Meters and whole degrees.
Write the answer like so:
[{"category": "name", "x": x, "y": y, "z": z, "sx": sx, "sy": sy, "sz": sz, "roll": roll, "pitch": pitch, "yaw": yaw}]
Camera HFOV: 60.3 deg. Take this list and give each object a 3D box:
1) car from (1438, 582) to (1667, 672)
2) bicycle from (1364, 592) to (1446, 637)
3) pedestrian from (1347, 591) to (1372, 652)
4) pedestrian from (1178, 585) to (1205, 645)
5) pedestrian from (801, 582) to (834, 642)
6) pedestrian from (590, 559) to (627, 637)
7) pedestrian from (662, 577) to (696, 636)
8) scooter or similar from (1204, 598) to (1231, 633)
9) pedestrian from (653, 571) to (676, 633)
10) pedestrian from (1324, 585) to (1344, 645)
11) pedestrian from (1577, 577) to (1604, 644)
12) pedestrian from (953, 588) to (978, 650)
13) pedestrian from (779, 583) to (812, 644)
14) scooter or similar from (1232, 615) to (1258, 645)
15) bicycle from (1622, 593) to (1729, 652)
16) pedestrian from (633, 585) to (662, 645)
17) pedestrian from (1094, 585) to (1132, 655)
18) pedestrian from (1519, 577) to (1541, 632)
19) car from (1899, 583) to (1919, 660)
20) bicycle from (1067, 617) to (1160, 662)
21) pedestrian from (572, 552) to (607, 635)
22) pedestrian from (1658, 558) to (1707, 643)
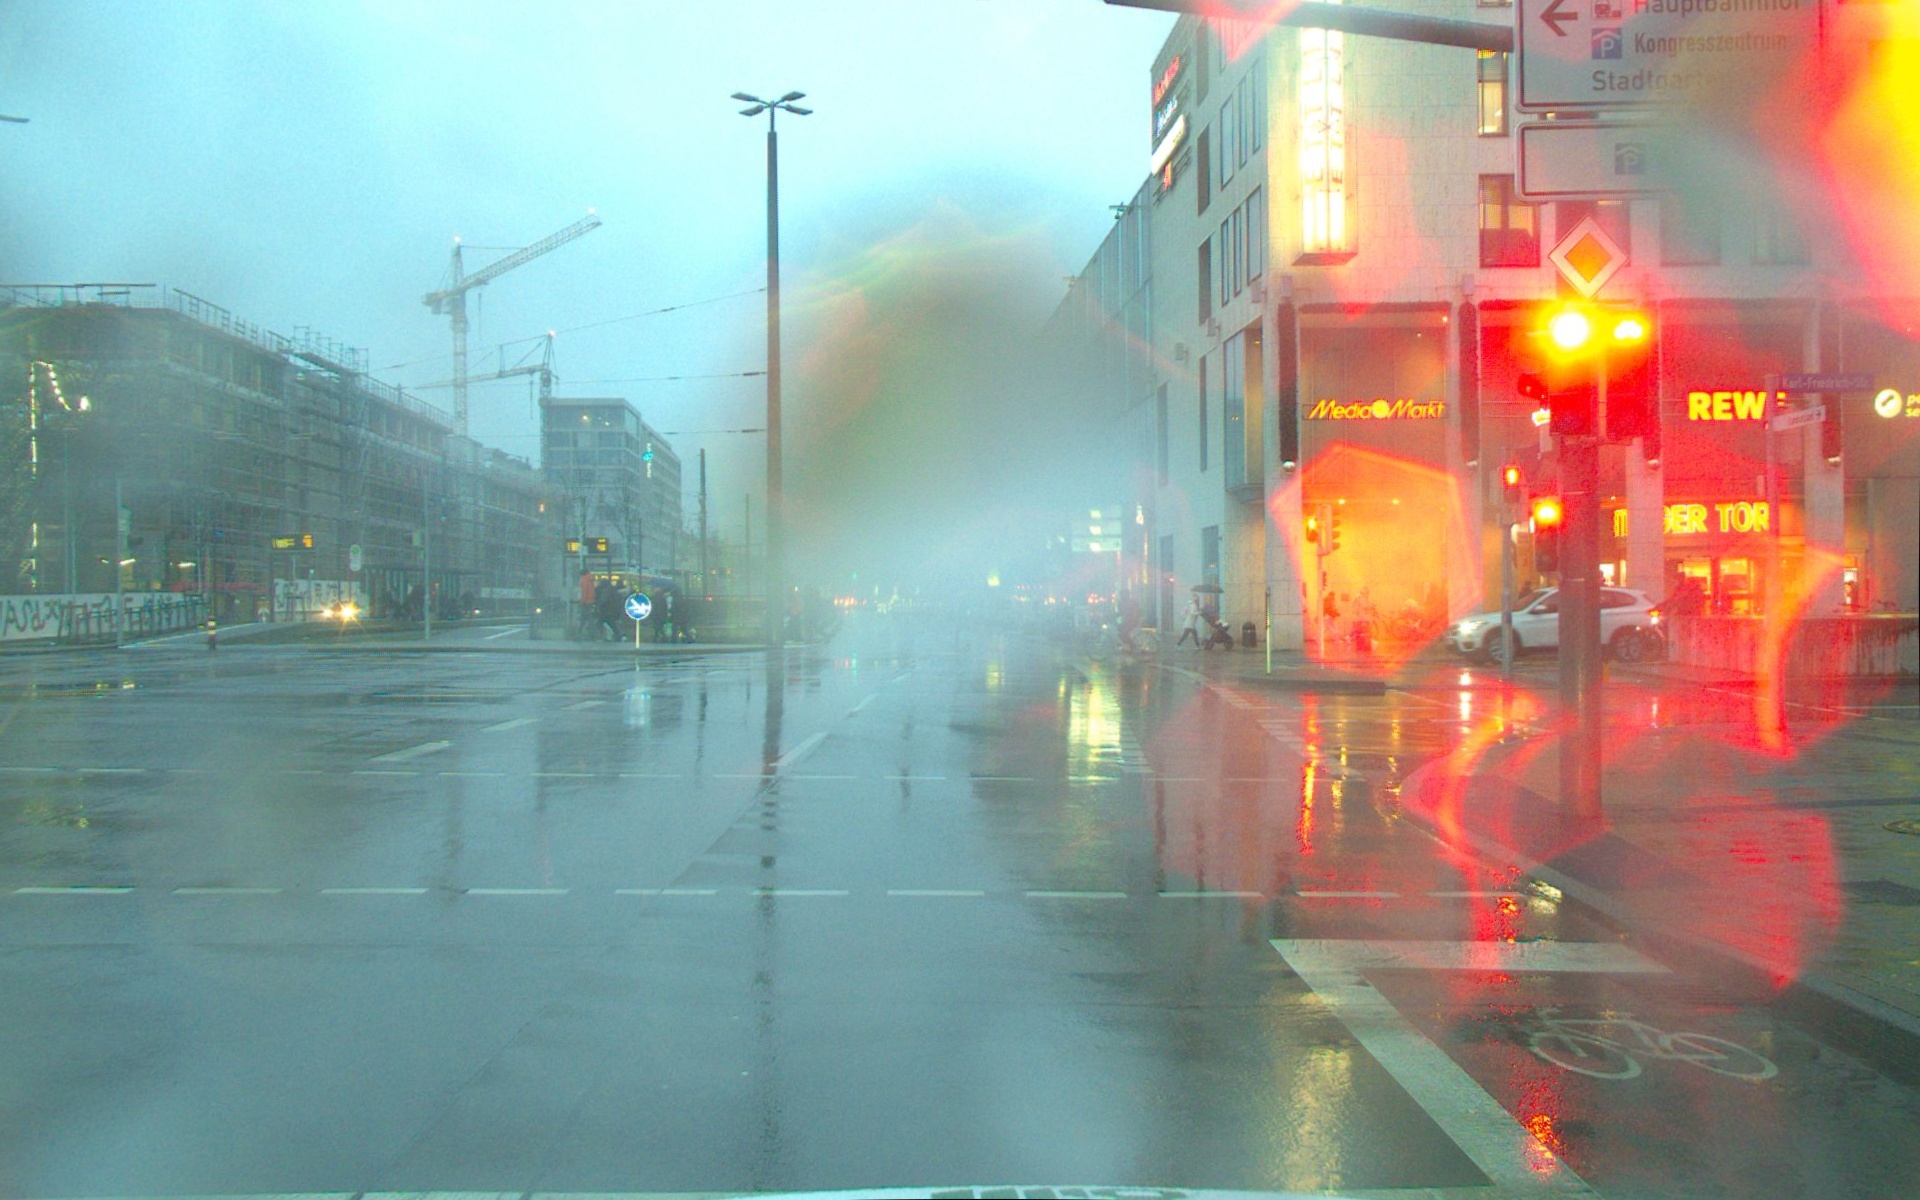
[{"category": "car", "x": 12.376, "y": 0.544, "z": 34.730, "sx": 4.213, "sy": 1.792, "sz": 1.707, "roll": -1, "pitch": 0, "yaw": 2}, {"category": "bicycle", "x": 13.682, "y": 0.427, "z": 50.838, "sx": 2.378, "sy": 1.352, "sz": 0.634, "roll": 0, "pitch": 0, "yaw": -6}, {"category": "pedestrian", "x": 11.888, "y": 0.630, "z": 49.205, "sx": 0.605, "sy": 1.791, "sz": 0.482, "roll": -1, "pitch": 0, "yaw": -1}, {"category": "pedestrian", "x": 6.651, "y": 0.436, "z": 47.431, "sx": 0.725, "sy": 1.696, "sz": 0.401, "roll": -1, "pitch": 0, "yaw": 11}, {"category": "pedestrian", "x": -4.092, "y": 0.337, "z": 47.511, "sx": 0.825, "sy": 1.718, "sz": 0.677, "roll": -1, "pitch": 0, "yaw": 5}, {"category": "pedestrian", "x": -9.366, "y": -0.060, "z": 44.114, "sx": 0.770, "sy": 2.049, "sz": 0.604, "roll": 0, "pitch": 0, "yaw": -39}, {"category": "pedestrian", "x": -7.835, "y": 0.177, "z": 46.120, "sx": 0.793, "sy": 1.635, "sz": 0.745, "roll": -1, "pitch": 0, "yaw": -1}, {"category": "scooter or similar", "x": 7.363, "y": 0.445, "z": 47.296, "sx": 0.725, "sy": 1.011, "sz": 0.401, "roll": -1, "pitch": 0, "yaw": 11}, {"category": "pedestrian", "x": -8.527, "y": 0.060, "z": 47.728, "sx": 0.607, "sy": 1.776, "sz": 0.612, "roll": -1, "pitch": 0, "yaw": -6}, {"category": "pedestrian", "x": 11.277, "y": 0.460, "z": 49.877, "sx": 0.501, "sy": 1.791, "sz": 0.374, "roll": -1, "pitch": 0, "yaw": -1}, {"category": "pedestrian", "x": 16.169, "y": 0.263, "z": 42.412, "sx": 0.526, "sy": 1.715, "sz": 0.547, "roll": -1, "pitch": 0, "yaw": 37}, {"category": "pedestrian", "x": 0.155, "y": 0.550, "z": 48.322, "sx": 0.688, "sy": 1.791, "sz": 0.652, "roll": -1, "pitch": 0, "yaw": -1}, {"category": "pedestrian", "x": -4.664, "y": 0.367, "z": 46.851, "sx": 0.813, "sy": 1.709, "sz": 0.620, "roll": -1, "pitch": 0, "yaw": 5}, {"category": "scooter or similar", "x": 8.884, "y": 0.939, "z": 51.561, "sx": 0.726, "sy": 0.932, "sz": 0.400, "roll": -1, "pitch": 0, "yaw": 0}, {"category": "bicycle", "x": 13.857, "y": 0.432, "z": 32.052, "sx": 1.806, "sy": 1.112, "sz": 0.618, "roll": -1, "pitch": 0, "yaw": 14}, {"category": "pedestrian", "x": -8.648, "y": 0.416, "z": 45.812, "sx": 0.692, "sy": 1.647, "sz": 0.612, "roll": -1, "pitch": 0, "yaw": -3}, {"category": "pedestrian", "x": 3.526, "y": 0.459, "z": 38.112, "sx": 0.798, "sy": 1.597, "sz": 0.536, "roll": -1, "pitch": 0, "yaw": -2}, {"category": "pedestrian", "x": 18.319, "y": 0.143, "z": 53.123, "sx": 0.526, "sy": 1.748, "sz": 0.500, "roll": -1, "pitch": 0, "yaw": 37}, {"category": "car", "x": 21.899, "y": 0.409, "z": 34.279, "sx": 3.969, "sy": 1.610, "sz": 1.675, "roll": -1, "pitch": -1, "yaw": -3}, {"category": "bicycle", "x": 3.531, "y": 0.904, "z": 38.098, "sx": 2.085, "sy": 1.009, "sz": 0.541, "roll": 1, "pitch": -1, "yaw": -3}, {"category": "pedestrian", "x": -9.657, "y": -0.168, "z": 43.136, "sx": 0.682, "sy": 2.124, "sz": 0.604, "roll": 0, "pitch": 0, "yaw": -41}, {"category": "pedestrian", "x": 13.977, "y": 0.008, "z": 32.005, "sx": 0.764, "sy": 1.623, "sz": 0.613, "roll": -1, "pitch": 0, "yaw": 14}]
